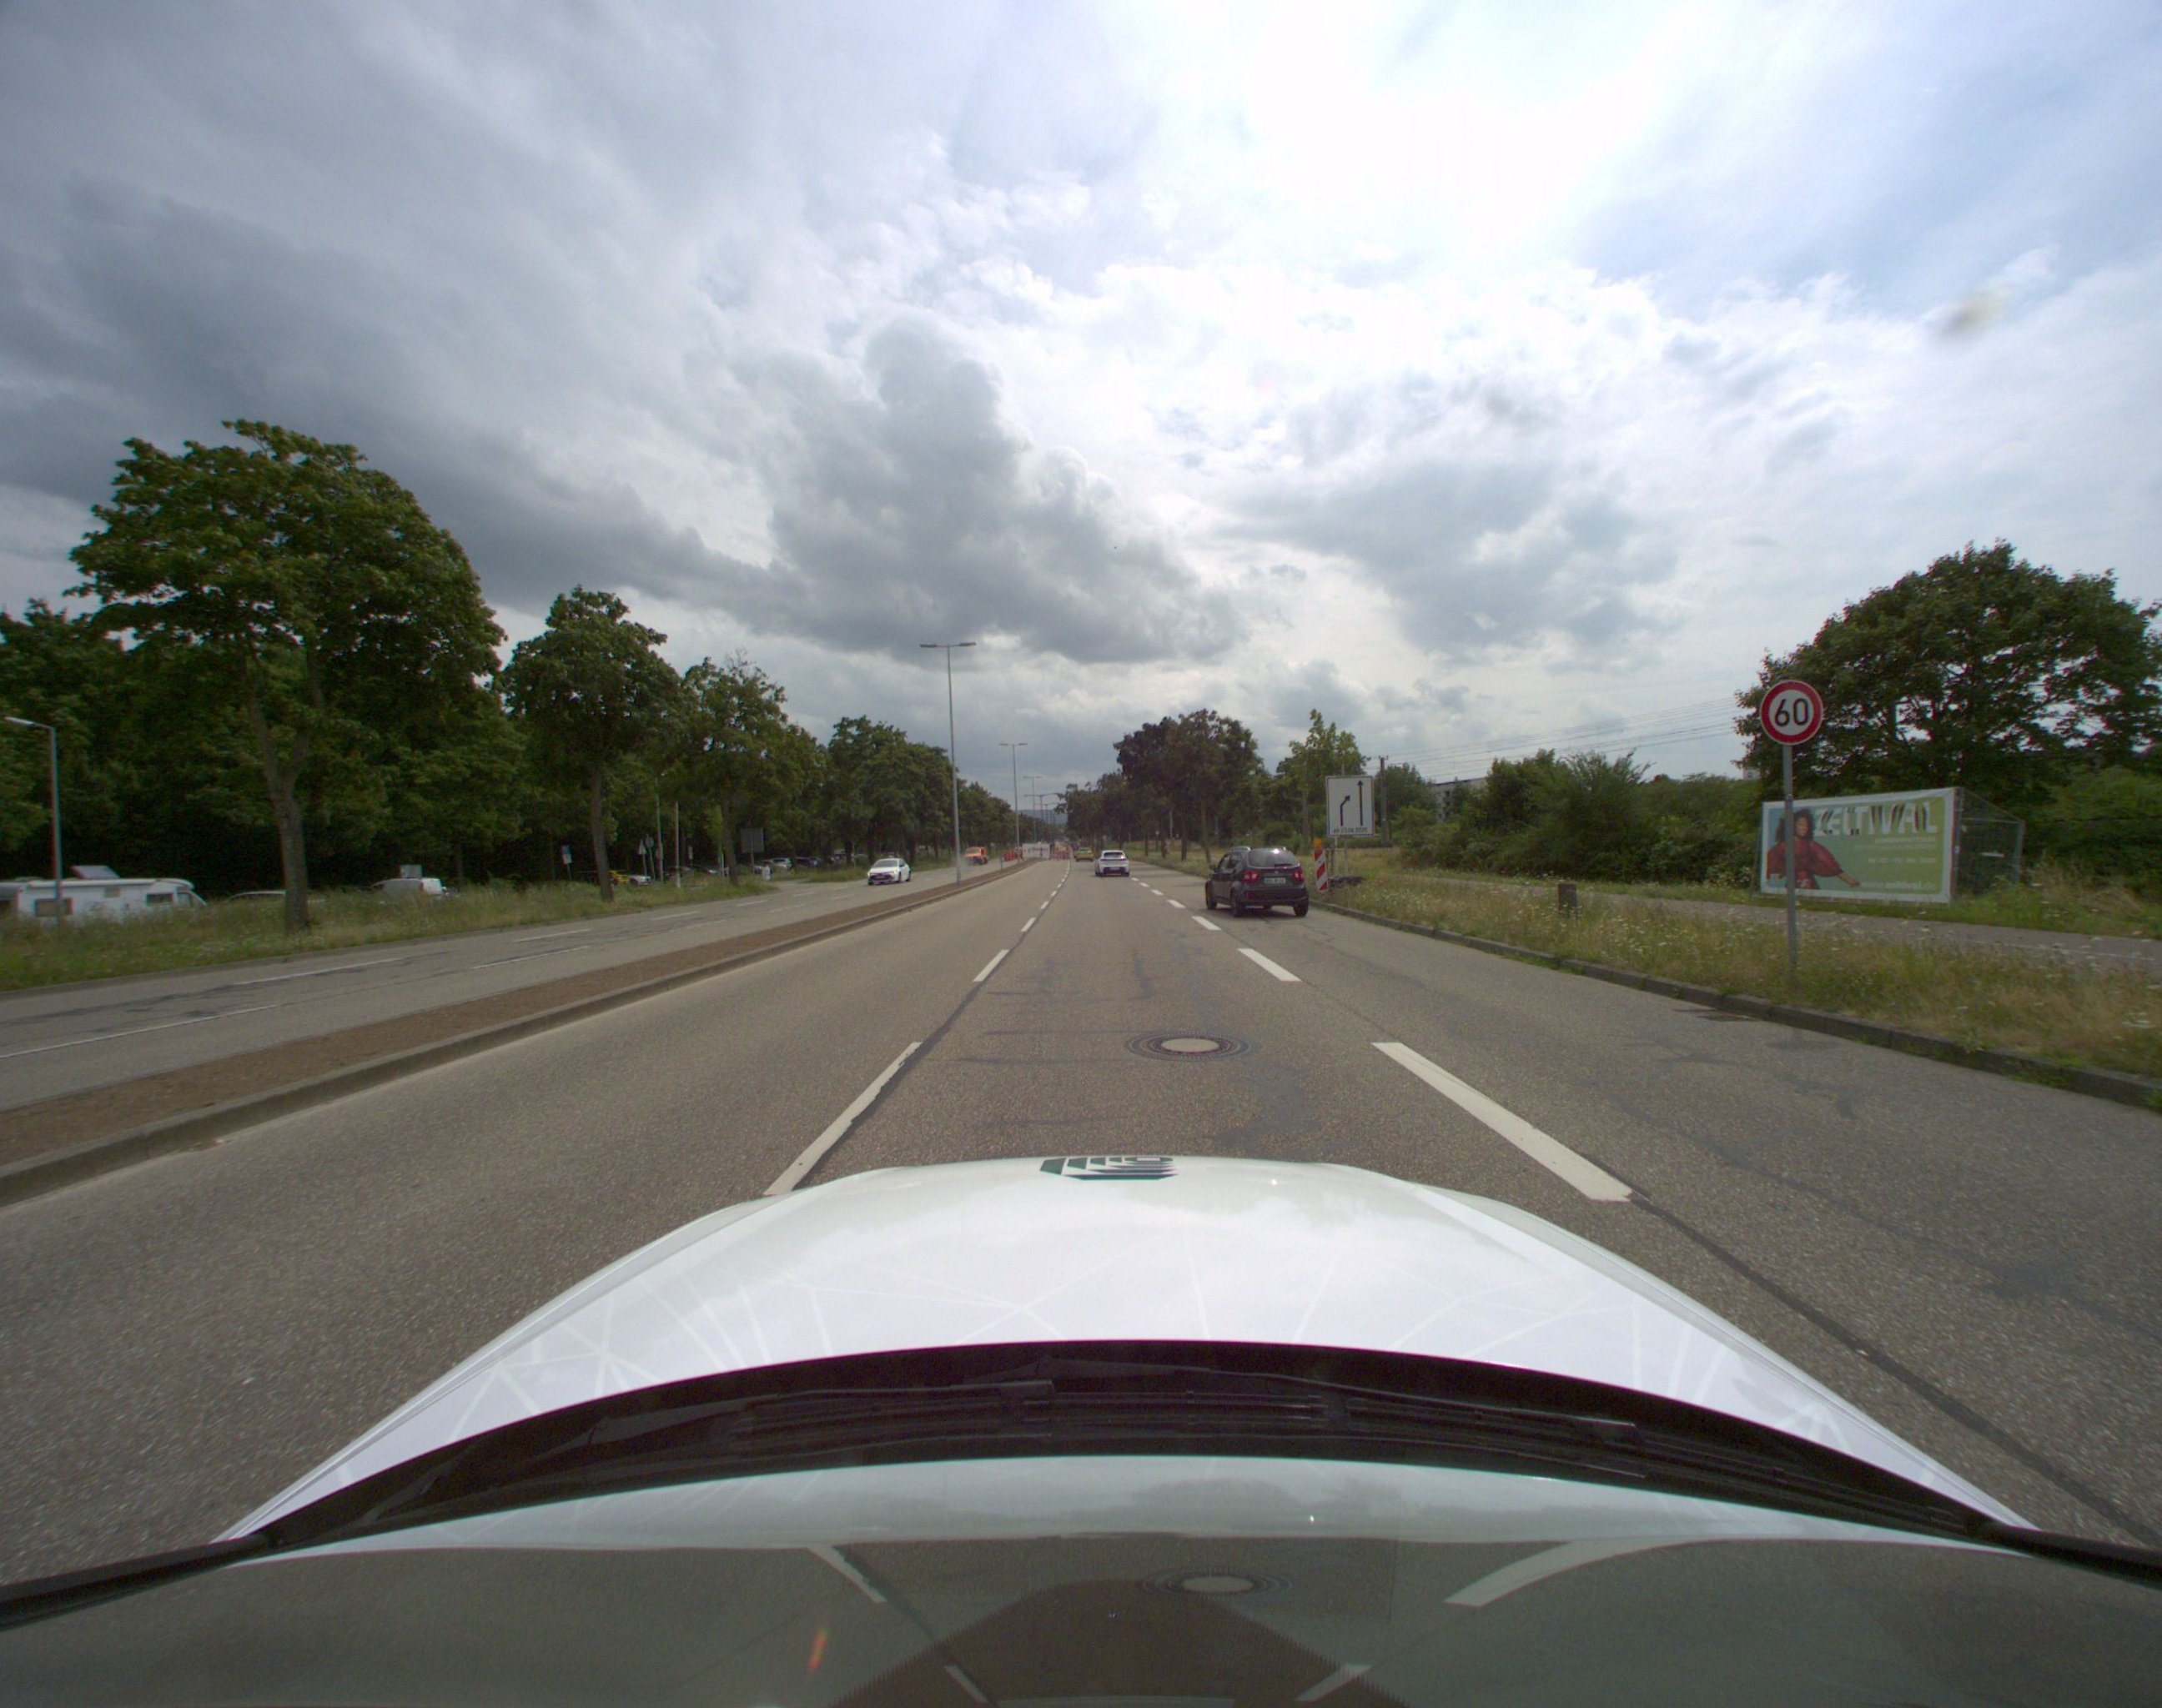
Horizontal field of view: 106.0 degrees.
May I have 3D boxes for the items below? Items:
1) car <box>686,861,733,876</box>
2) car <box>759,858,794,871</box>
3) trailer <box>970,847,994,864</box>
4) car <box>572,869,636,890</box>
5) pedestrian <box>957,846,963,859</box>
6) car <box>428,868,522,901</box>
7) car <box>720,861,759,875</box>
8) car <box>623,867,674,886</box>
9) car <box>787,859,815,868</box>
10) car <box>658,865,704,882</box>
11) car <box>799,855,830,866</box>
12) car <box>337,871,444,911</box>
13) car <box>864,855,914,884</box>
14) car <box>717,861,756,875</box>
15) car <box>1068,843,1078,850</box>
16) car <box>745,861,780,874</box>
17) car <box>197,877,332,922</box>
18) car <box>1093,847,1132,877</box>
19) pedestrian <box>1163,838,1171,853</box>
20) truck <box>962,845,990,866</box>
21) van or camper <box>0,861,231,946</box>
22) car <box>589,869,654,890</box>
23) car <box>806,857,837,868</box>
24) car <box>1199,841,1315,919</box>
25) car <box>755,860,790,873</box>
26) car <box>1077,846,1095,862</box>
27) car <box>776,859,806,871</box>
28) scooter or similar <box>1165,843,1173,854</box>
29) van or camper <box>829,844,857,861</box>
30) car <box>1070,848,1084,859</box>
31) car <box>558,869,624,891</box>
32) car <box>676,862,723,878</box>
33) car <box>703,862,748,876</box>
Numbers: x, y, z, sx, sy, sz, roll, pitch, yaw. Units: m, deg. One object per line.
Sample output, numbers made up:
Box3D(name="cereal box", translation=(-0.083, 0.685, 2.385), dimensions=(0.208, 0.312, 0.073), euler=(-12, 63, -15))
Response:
Box3D(name="car", translation=(-39.087, 1.487, 85.716), dimensions=(3.972, 1.360, 1.823), euler=(-2, 1, 2))
Box3D(name="car", translation=(-39.145, 1.331, 104.770), dimensions=(3.635, 1.519, 1.884), euler=(-2, 1, 2))
Box3D(name="trailer", translation=(-11.199, 0.165, 92.707), dimensions=(2.055, 1.689, 3.896), euler=(-3, 0, 1))
Box3D(name="car", translation=(-37.939, 2.023, 64.866), dimensions=(3.972, 1.498, 1.786), euler=(-2, 1, 1))
Box3D(name="pedestrian", translation=(-18.280, -0.209, 123.449), dimensions=(0.693, 1.838, 0.646), euler=(-2, 1, -22))
Box3D(name="car", translation=(-36.362, 1.836, 48.960), dimensions=(3.974, 1.713, 2.046), euler=(-2, 1, 0))
Box3D(name="car", translation=(-39.043, 1.567, 93.108), dimensions=(3.632, 1.360, 1.709), euler=(-2, 1, 2))
Box3D(name="car", translation=(-37.775, 1.968, 71.155), dimensions=(3.635, 1.411, 1.518), euler=(-2, 1, 2))
Box3D(name="car", translation=(-38.379, 1.336, 111.669), dimensions=(3.355, 1.093, 1.442), euler=(-2, 1, 1))
Box3D(name="car", translation=(-38.772, 1.896, 78.895), dimensions=(3.635, 1.411, 1.518), euler=(-2, 1, 2))
Box3D(name="car", translation=(-38.200, 0.978, 116.787), dimensions=(3.718, 1.409, 2.000), euler=(-2, 1, 0))
Box3D(name="car", translation=(-37.008, 1.959, 43.738), dimensions=(3.974, 1.887, 1.939), euler=(-2, 1, 0))
Box3D(name="car", translation=(-10.875, 0.844, 46.413), dimensions=(1.710, 1.420, 4.161), euler=(-4, 1, 1))
Box3D(name="car", translation=(-38.446, 1.544, 90.926), dimensions=(3.632, 1.360, 1.709), euler=(-2, 1, 2))
Box3D(name="car", translation=(-2.116, -1.949, 213.325), dimensions=(2.198, 1.683, 4.003), euler=(-2, 1, 2))
Box3D(name="car", translation=(-38.951, 1.620, 99.754), dimensions=(3.635, 1.411, 1.518), euler=(-2, 1, 2))
Box3D(name="car", translation=(-36.373, 1.994, 36.338), dimensions=(3.975, 1.716, 1.886), euler=(-2, 1, -1))
Box3D(name="car", translation=(1.709, 0.419, 45.611), dimensions=(1.763, 1.464, 3.995), euler=(-2, 1, -3))
Box3D(name="pedestrian", translation=(9.857, -0.927, 92.864), dimensions=(0.689, 1.695, 0.932), euler=(-2, 1, -5))
Box3D(name="truck", translation=(-11.310, 0.137, 88.079), dimensions=(2.081, 1.994, 6.040), euler=(-3, 1, 1))
Box3D(name="van or camper", translation=(-36.007, 1.663, 29.831), dimensions=(2.463, 2.540, 6.722), euler=(-2, 1, 1))
Box3D(name="car", translation=(-37.864, 2.064, 67.175), dimensions=(4.165, 1.498, 1.886), euler=(-2, 1, 1))
Box3D(name="car", translation=(-38.701, 1.205, 121.514), dimensions=(3.758, 1.425, 1.967), euler=(-2, 1, 2))
Box3D(name="car", translation=(4.112, 0.523, 19.632), dimensions=(1.700, 1.668, 3.995), euler=(-1, 1, -4))
Box3D(name="car", translation=(-38.714, 1.538, 102.216), dimensions=(3.635, 1.411, 1.518), euler=(-2, 1, 2))
Box3D(name="car", translation=(0.531, -0.037, 85.696), dimensions=(1.787, 1.561, 4.001), euler=(-2, 1, 1))
Box3D(name="car", translation=(-39.035, 1.458, 109.682), dimensions=(3.536, 1.411, 1.322), euler=(-2, 1, 2))
Box3D(name="scooter or similar", translation=(9.949, -0.634, 91.932), dimensions=(0.681, 1.129, 0.932), euler=(-2, 1, -5))
Box3D(name="van or camper", translation=(-40.007, -0.256, 137.124), dimensions=(3.975, 2.756, 1.926), euler=(-2, 1, -1))
Box3D(name="car", translation=(-0.458, -0.096, 104.170), dimensions=(1.661, 1.269, 4.001), euler=(-2, 1, 1))
Box3D(name="car", translation=(-37.890, 2.008, 63.038), dimensions=(3.972, 1.498, 1.786), euler=(-2, 1, 1))
Box3D(name="car", translation=(-38.935, 1.639, 83.241), dimensions=(3.972, 1.360, 1.668), euler=(-2, 1, 2))
Box3D(name="car", translation=(-38.583, 1.624, 88.489), dimensions=(3.969, 1.410, 2.003), euler=(-2, 1, 4))
